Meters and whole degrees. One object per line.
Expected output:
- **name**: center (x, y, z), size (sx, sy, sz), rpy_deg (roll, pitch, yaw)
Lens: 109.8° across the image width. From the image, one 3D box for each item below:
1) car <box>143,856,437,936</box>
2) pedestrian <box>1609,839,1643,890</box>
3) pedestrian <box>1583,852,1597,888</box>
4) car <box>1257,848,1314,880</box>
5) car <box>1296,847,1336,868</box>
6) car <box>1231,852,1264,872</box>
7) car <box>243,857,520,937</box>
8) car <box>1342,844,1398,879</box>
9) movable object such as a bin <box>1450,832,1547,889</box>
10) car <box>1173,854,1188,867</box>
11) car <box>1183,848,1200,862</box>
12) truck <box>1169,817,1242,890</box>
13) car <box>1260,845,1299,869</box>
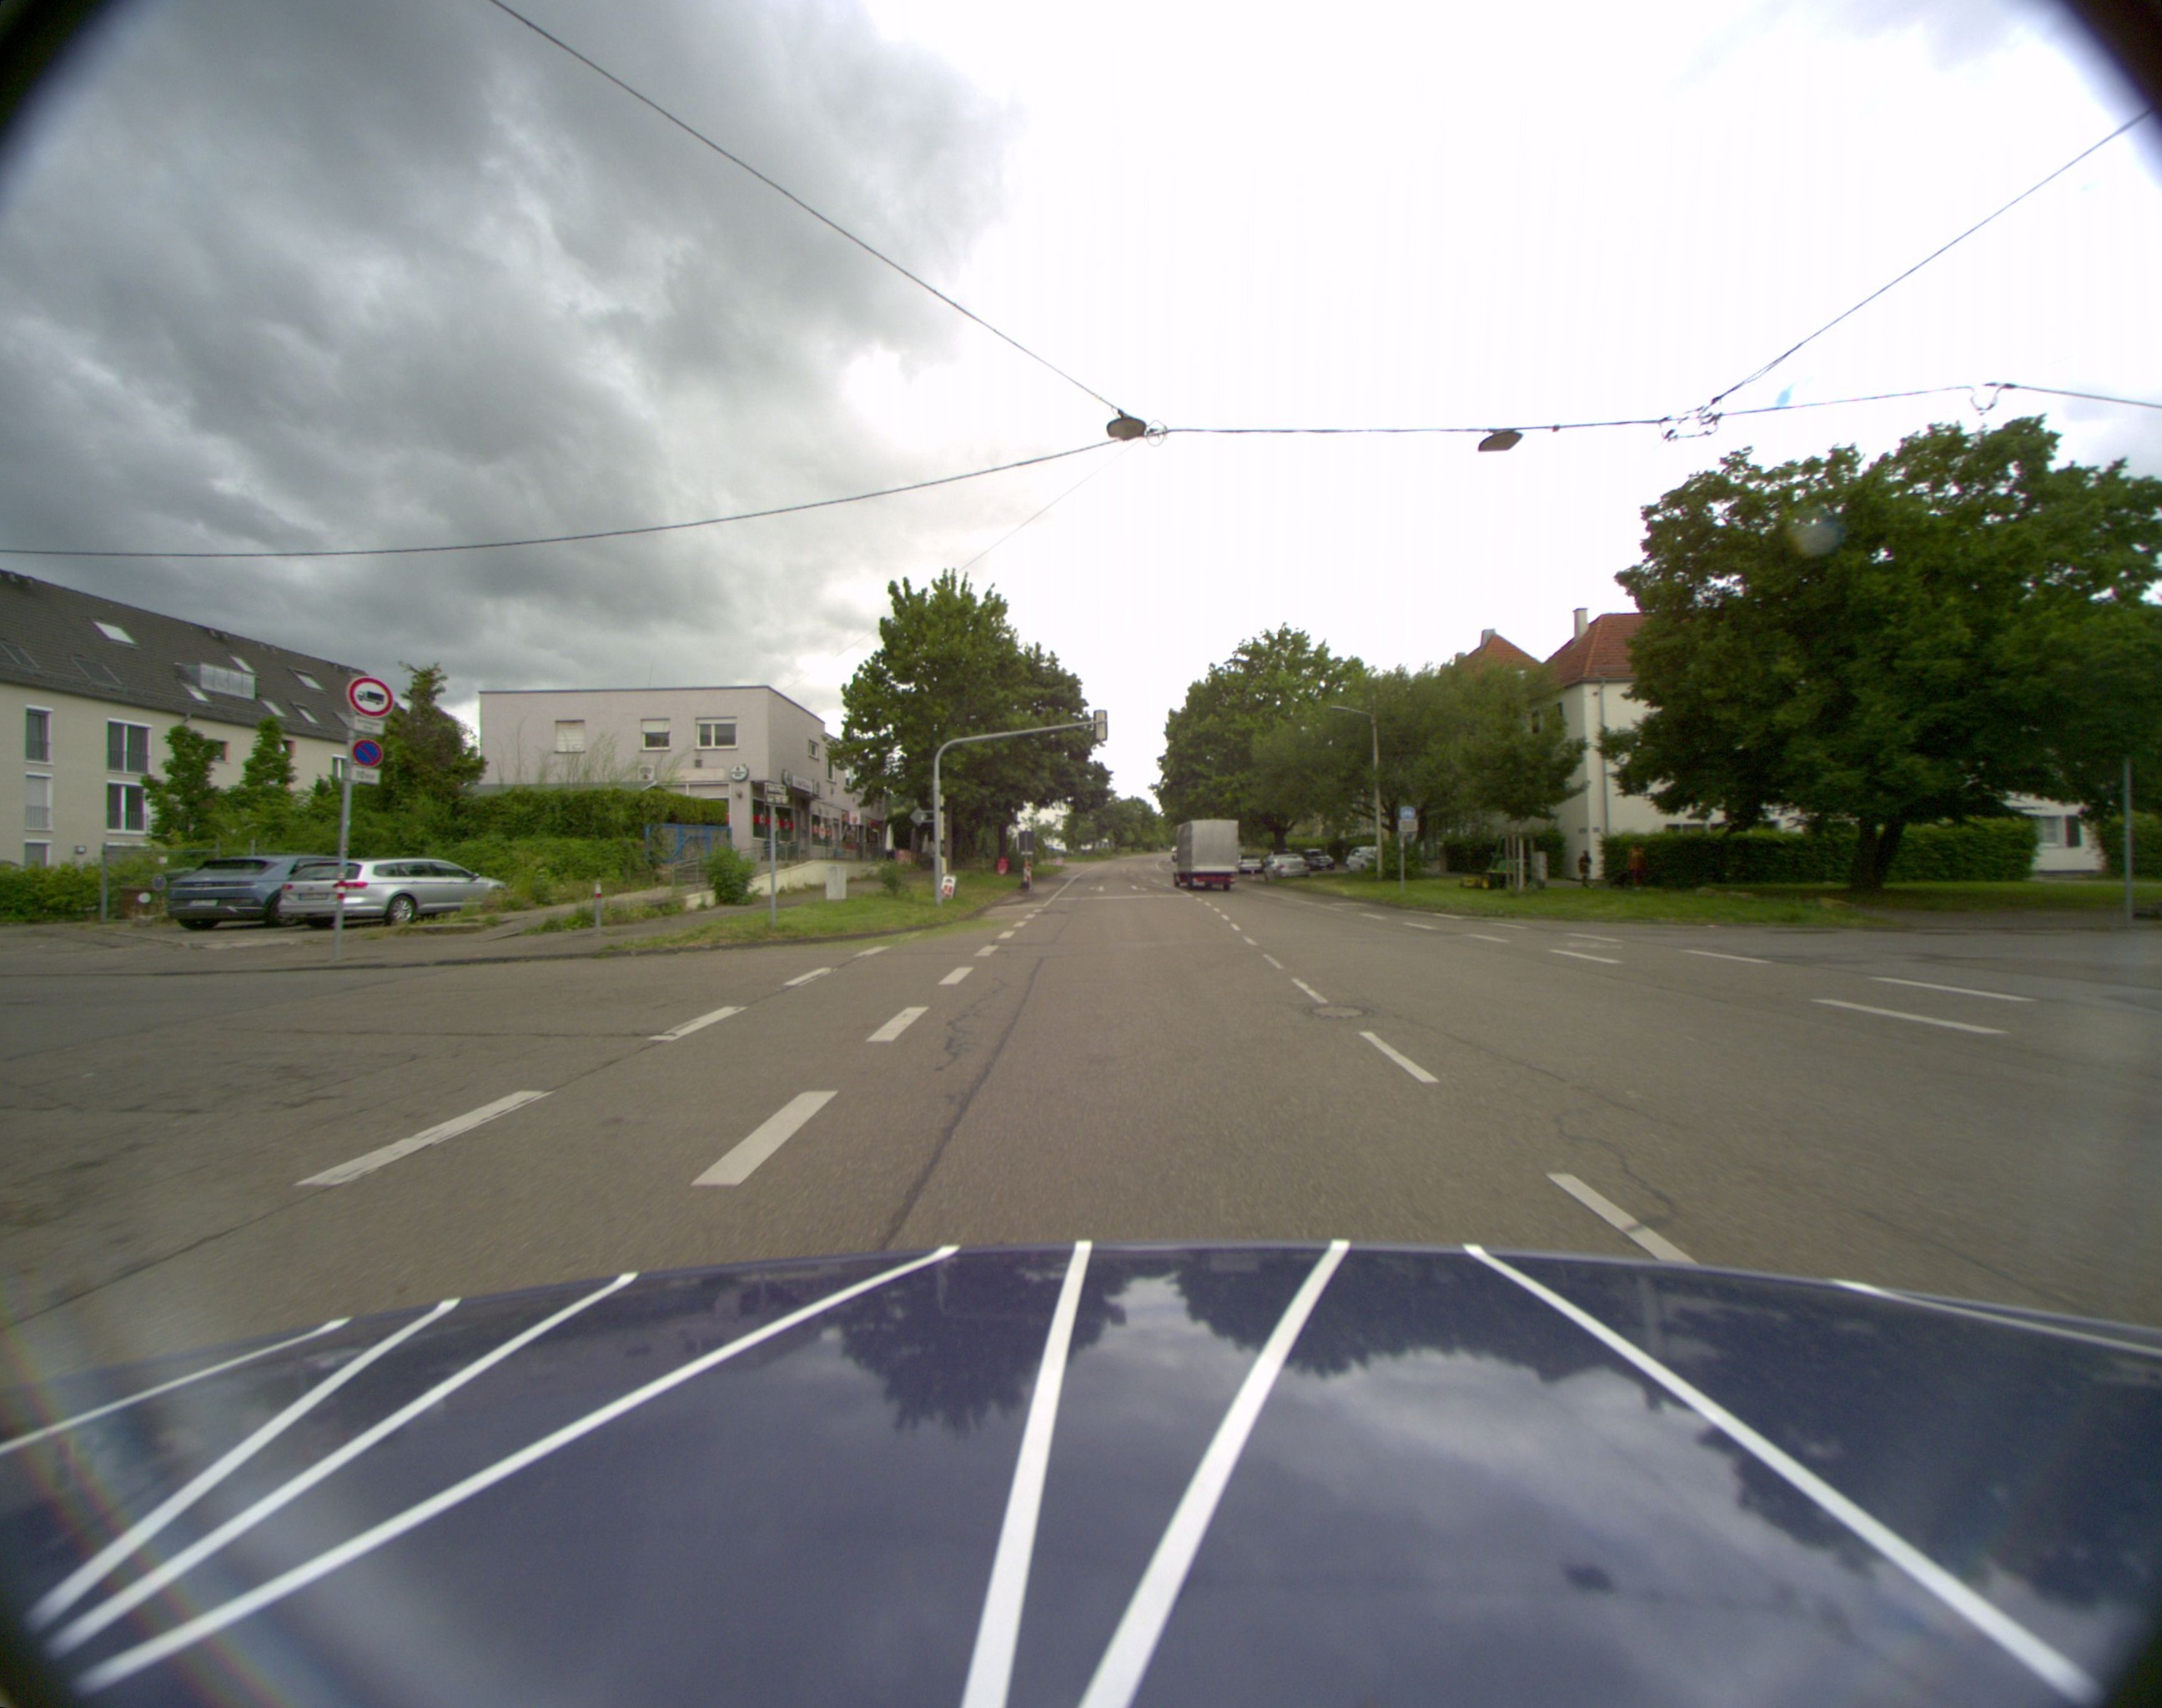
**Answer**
- **car**: center (-17.998, 0.860, 17.723), size (1.999, 1.524, 4.611), rpy_deg (-2, 0, -1)
- **pedestrian**: center (19.063, 0.360, 26.563), size (0.778, 1.746, 0.688), rpy_deg (-3, 1, -31)
- **pedestrian**: center (18.040, 0.553, 26.914), size (0.358, 1.264, 0.360), rpy_deg (0, 1, 24)
- **car**: center (11.411, 0.509, 42.651), size (1.998, 1.666, 4.546), rpy_deg (-2, 0, 1)
- **car**: center (16.591, 0.232, 53.772), size (1.680, 1.423, 3.872), rpy_deg (-2, 0, 1)
- **car**: center (12.089, 0.563, 55.399), size (1.604, 1.346, 4.000), rpy_deg (-2, 0, 2)
- **car**: center (-15.399, 0.847, 17.200), size (1.999, 1.455, 4.611), rpy_deg (-2, 0, -1)
- **car**: center (16.505, 0.399, 43.554), size (1.755, 1.878, 4.000), rpy_deg (-2, 1, 1)
- **movable object such as a bin**: center (14.806, 0.224, 27.094), size (1.099, 1.892, 3.246), rpy_deg (-2, 1, -14)
- **car**: center (11.464, 0.703, 87.862), size (1.620, 1.389, 3.680), rpy_deg (-2, 0, 6)
- **car**: center (12.040, 0.096, 82.890), size (1.620, 1.389, 3.680), rpy_deg (-2, 0, 6)
- **truck**: center (6.029, -0.046, 37.712), size (2.371, 3.218, 7.215), rpy_deg (-1, 0, 0)
- **car**: center (14.292, 0.206, 54.962), size (1.860, 1.596, 4.000), rpy_deg (-2, 0, 2)
